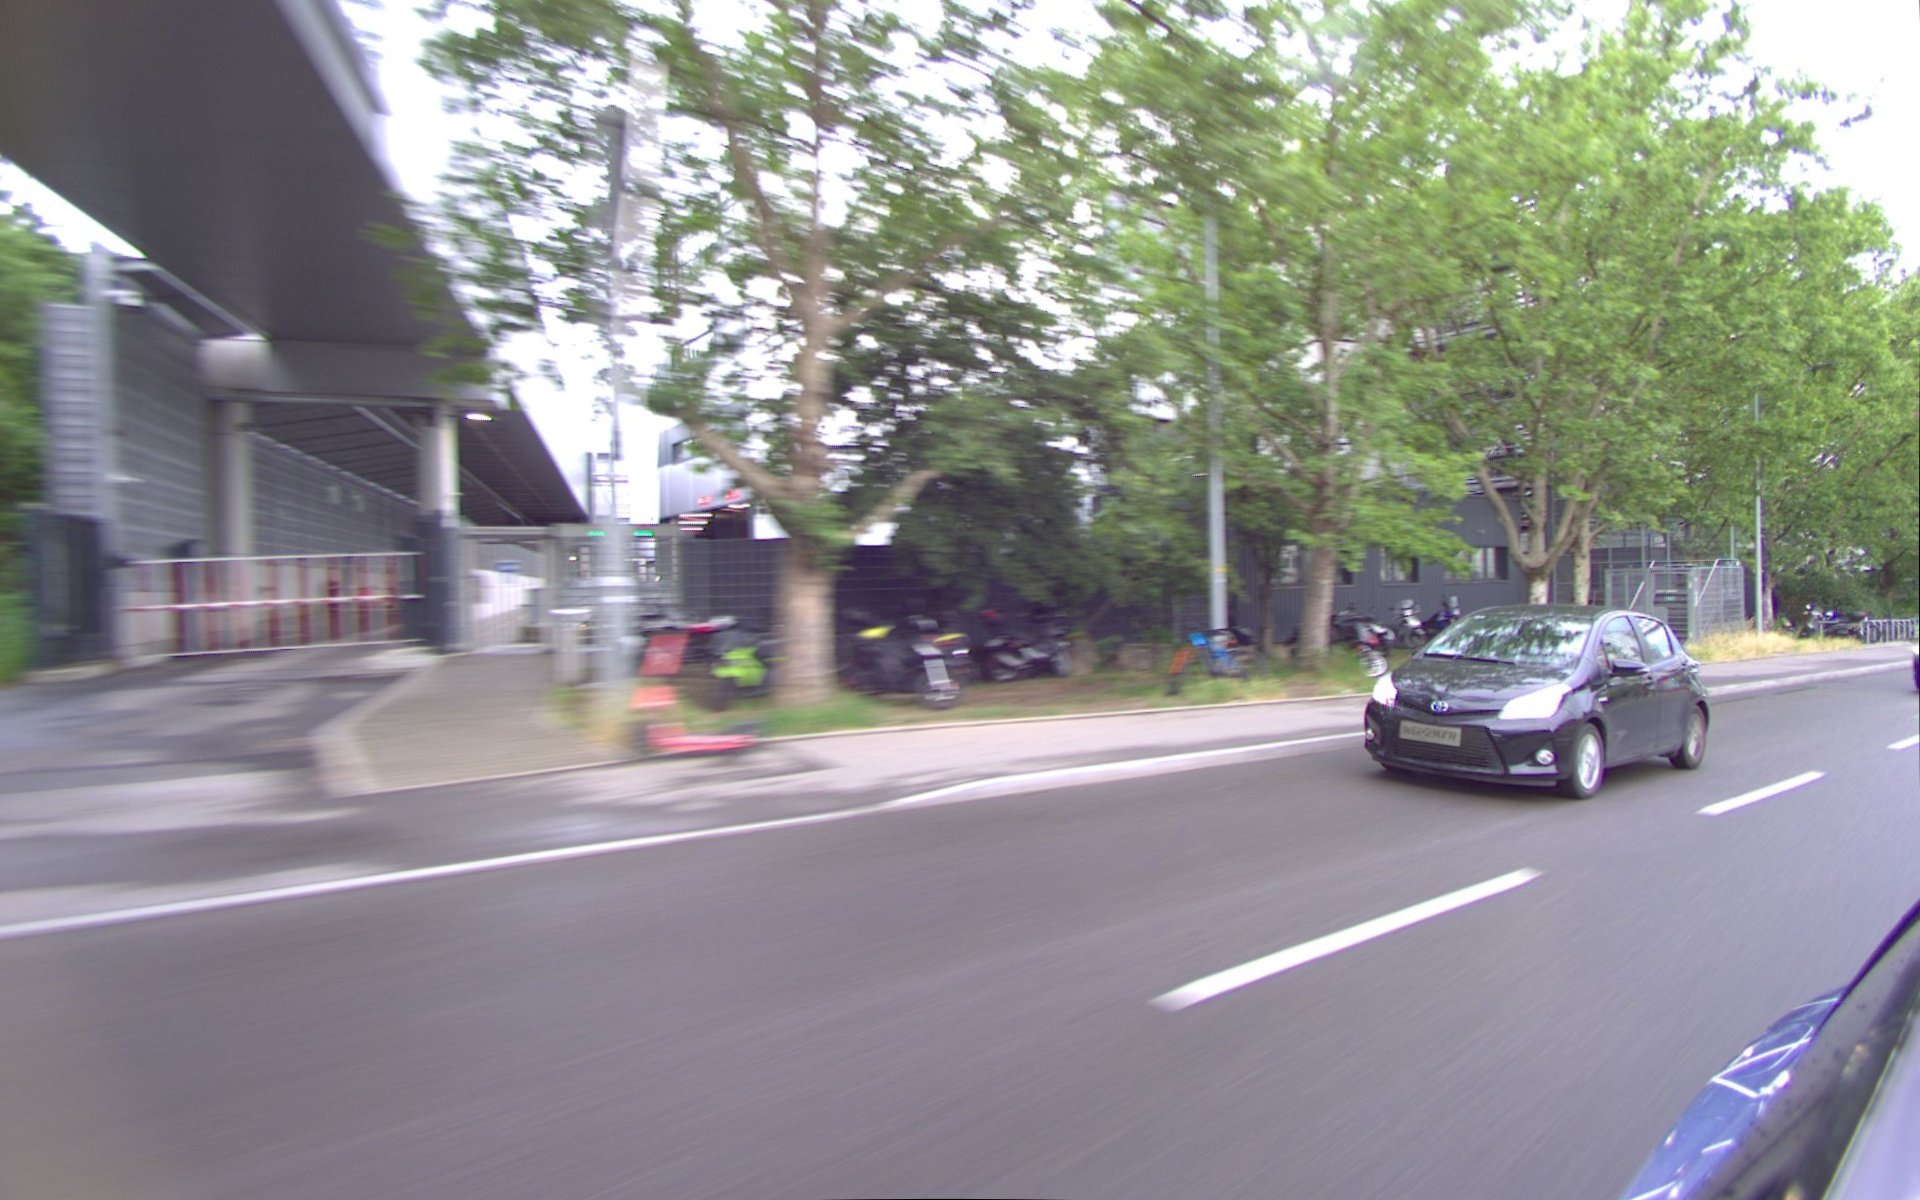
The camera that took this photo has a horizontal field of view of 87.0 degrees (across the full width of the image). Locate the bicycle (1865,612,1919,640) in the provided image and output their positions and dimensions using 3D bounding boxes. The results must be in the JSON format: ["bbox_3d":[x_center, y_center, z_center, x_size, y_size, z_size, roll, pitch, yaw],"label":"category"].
[{"bbox_3d":[37.026,1.021,40.219,0.386,1.018,1.556,0,0,-37],"label":"bicycle"}]

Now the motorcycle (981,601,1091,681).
[{"bbox_3d":[1.326,0.664,17.343,1.954,1.295,0.647,0,0,-38],"label":"motorcycle"}]

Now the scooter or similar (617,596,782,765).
[{"bbox_3d":[-2.139,0.629,8.341,1.281,1.315,0.313,0,0,-26],"label":"scooter or similar"}]

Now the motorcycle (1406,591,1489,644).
[{"bbox_3d":[13.078,0.492,27.207,0.497,1.382,1.930,0,-2,-41],"label":"motorcycle"}]

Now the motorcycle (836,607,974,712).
[{"bbox_3d":[-0.742,0.731,13.247,1.844,1.269,0.621,0,0,38],"label":"motorcycle"}]

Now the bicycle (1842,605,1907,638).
[{"bbox_3d":[34.606,0.811,38.323,0.440,1.182,1.790,0,0,-42],"label":"bicycle"}]

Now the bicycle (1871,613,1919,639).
[{"bbox_3d":[37.854,1.047,40.851,0.386,0.970,1.556,0,0,-37],"label":"bicycle"}]

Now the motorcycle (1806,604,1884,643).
[{"bbox_3d":[30.335,0.788,34.727,0.432,1.289,2.019,1,0,-24],"label":"motorcycle"}]

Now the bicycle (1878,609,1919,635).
[{"bbox_3d":[38.607,0.896,41.354,0.386,1.018,1.556,0,0,-37],"label":"bicycle"}]

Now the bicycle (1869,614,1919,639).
[{"bbox_3d":[37.531,1.051,40.600,0.386,0.970,1.556,0,0,-37],"label":"bicycle"}]

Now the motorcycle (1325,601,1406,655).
[{"bbox_3d":[9.975,0.694,24.968,0.481,1.274,1.922,0,-2,-31],"label":"motorcycle"}]

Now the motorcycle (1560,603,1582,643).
[{"bbox_3d":[18.026,0.662,29.848,0.474,1.160,1.875,-2,-2,33],"label":"motorcycle"}]

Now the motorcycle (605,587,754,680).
[{"bbox_3d":[-3.996,0.482,14.502,2.028,1.295,0.350,1,-1,-9],"label":"motorcycle"}]

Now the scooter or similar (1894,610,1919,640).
[{"bbox_3d":[36.126,0.954,38.228,0.307,1.105,1.215,0,0,-40],"label":"scooter or similar"}]

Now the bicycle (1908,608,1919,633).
[{"bbox_3d":[39.833,0.843,41.346,0.386,1.018,1.556,0,0,-37],"label":"bicycle"}]

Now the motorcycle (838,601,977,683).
[{"bbox_3d":[-0.866,0.674,16.536,2.235,1.295,0.522,0,0,-6],"label":"motorcycle"}]

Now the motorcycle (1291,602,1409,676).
[{"bbox_3d":[6.785,0.653,17.657,1.844,1.206,0.514,0,-1,38],"label":"motorcycle"}]

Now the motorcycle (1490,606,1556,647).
[{"bbox_3d":[16.460,0.774,29.611,0.548,1.160,1.646,-1,-1,-26],"label":"motorcycle"}]

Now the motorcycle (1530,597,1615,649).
[{"bbox_3d":[14.432,0.544,23.888,0.483,1.165,1.660,-1,-2,-29],"label":"motorcycle"}]

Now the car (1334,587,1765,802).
[{"bbox_3d":[5.476,0.653,9.160,4.555,1.489,1.749,-1,-1,-37],"label":"car"}]

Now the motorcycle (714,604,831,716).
[{"bbox_3d":[-2.277,0.691,12.522,0.621,1.269,1.843,0,0,18],"label":"motorcycle"}]

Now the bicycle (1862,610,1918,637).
[{"bbox_3d":[36.435,0.906,39.664,0.386,1.018,1.556,0,0,-37],"label":"bicycle"}]

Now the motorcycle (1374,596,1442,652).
[{"bbox_3d":[11.540,0.626,26.117,0.497,1.382,1.500,0,-2,-41],"label":"motorcycle"}]

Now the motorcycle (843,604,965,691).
[{"bbox_3d":[-0.865,0.718,15.417,1.817,1.295,0.522,1,-1,-6],"label":"motorcycle"}]

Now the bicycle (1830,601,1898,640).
[{"bbox_3d":[33.165,0.737,37.162,1.856,1.365,0.441,1,0,42],"label":"bicycle"}]

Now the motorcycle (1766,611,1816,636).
[{"bbox_3d":[36.002,1.015,43.858,0.566,1.014,1.612,0,1,-37],"label":"motorcycle"}]

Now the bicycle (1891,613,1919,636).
[{"bbox_3d":[40.751,1.052,43.083,0.380,0.951,1.612,0,1,-36],"label":"bicycle"}]
